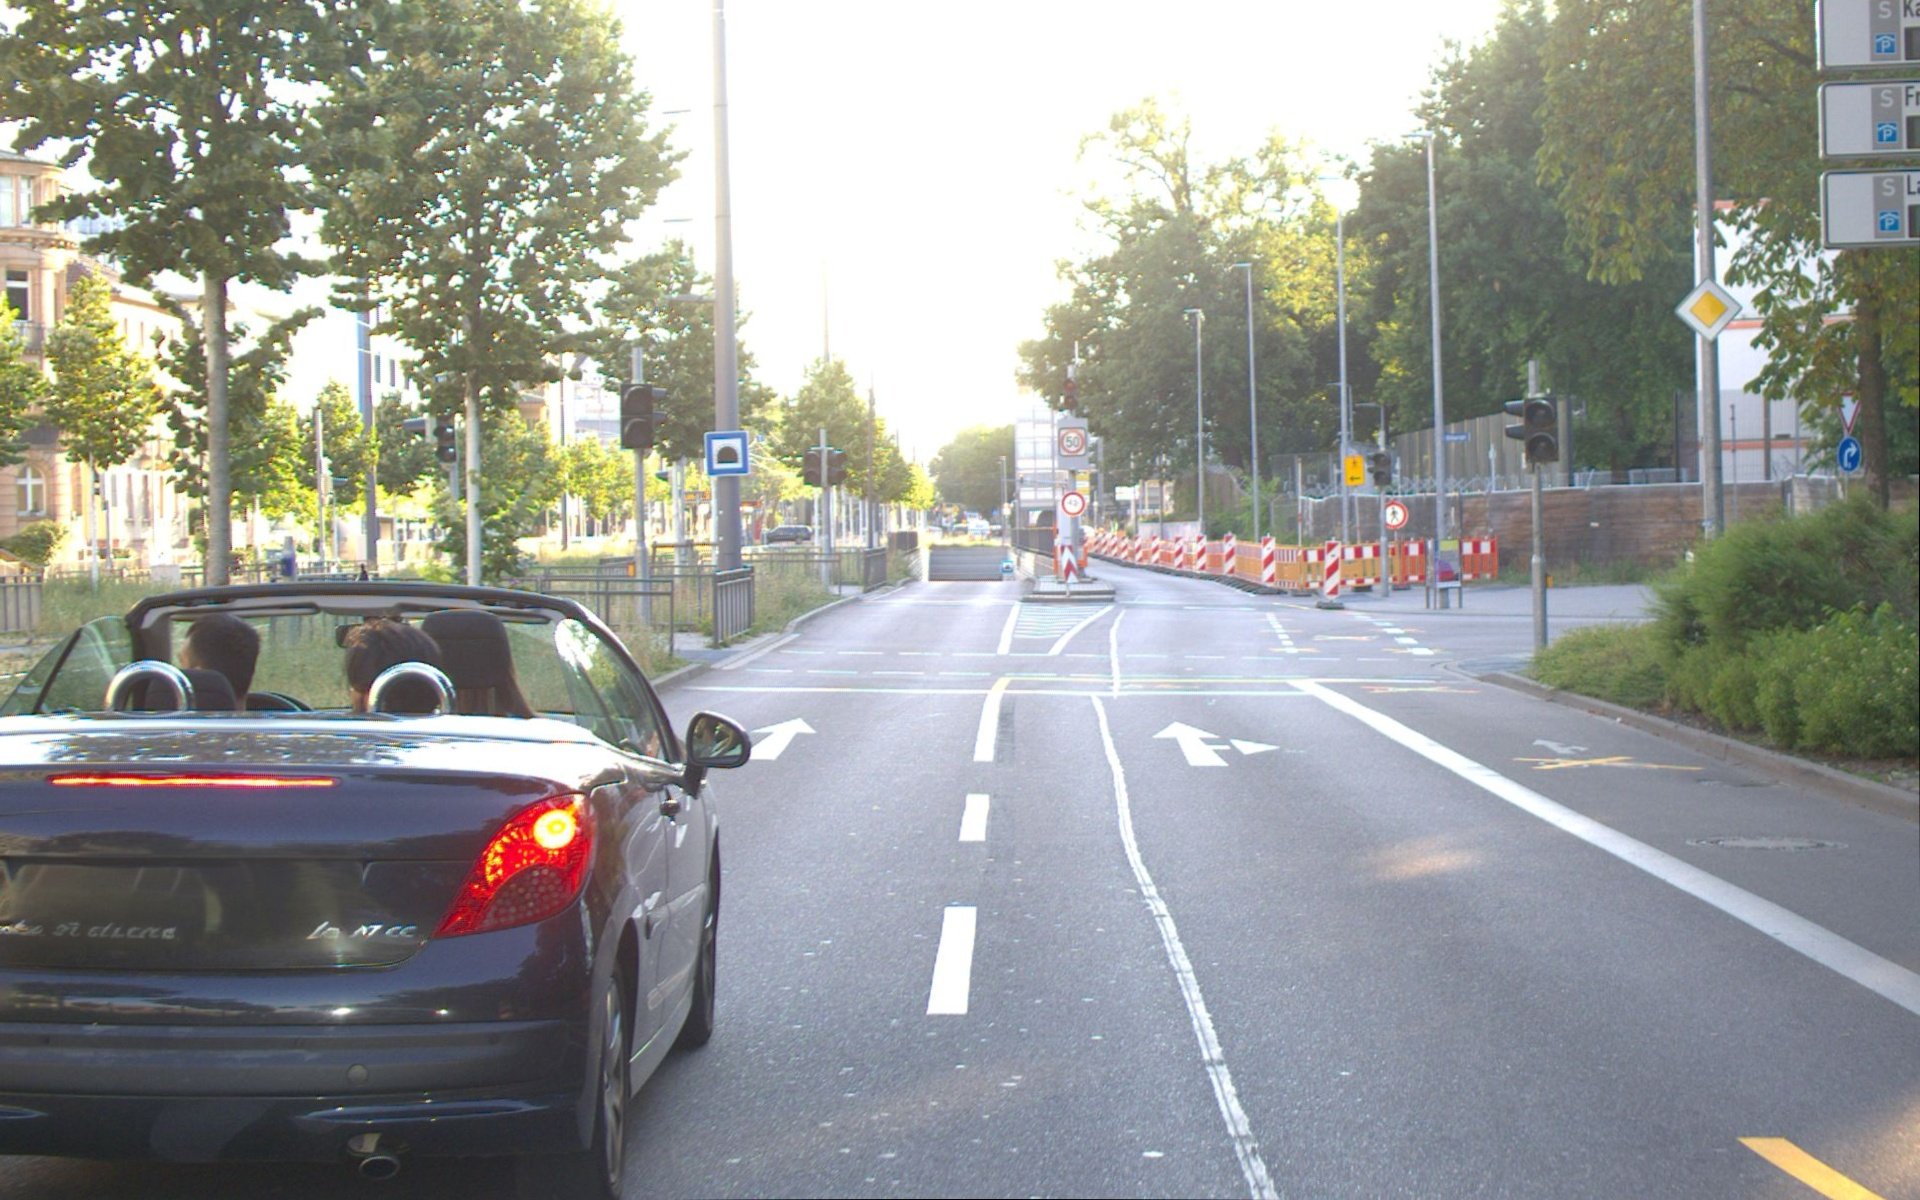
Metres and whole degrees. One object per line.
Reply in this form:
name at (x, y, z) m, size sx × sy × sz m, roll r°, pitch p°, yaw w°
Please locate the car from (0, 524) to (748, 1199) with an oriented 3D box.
car at (-1.535, 0.561, 8.627) m, size 1.719 × 1.444 × 3.902 m, roll 0°, pitch 2°, yaw 1°
